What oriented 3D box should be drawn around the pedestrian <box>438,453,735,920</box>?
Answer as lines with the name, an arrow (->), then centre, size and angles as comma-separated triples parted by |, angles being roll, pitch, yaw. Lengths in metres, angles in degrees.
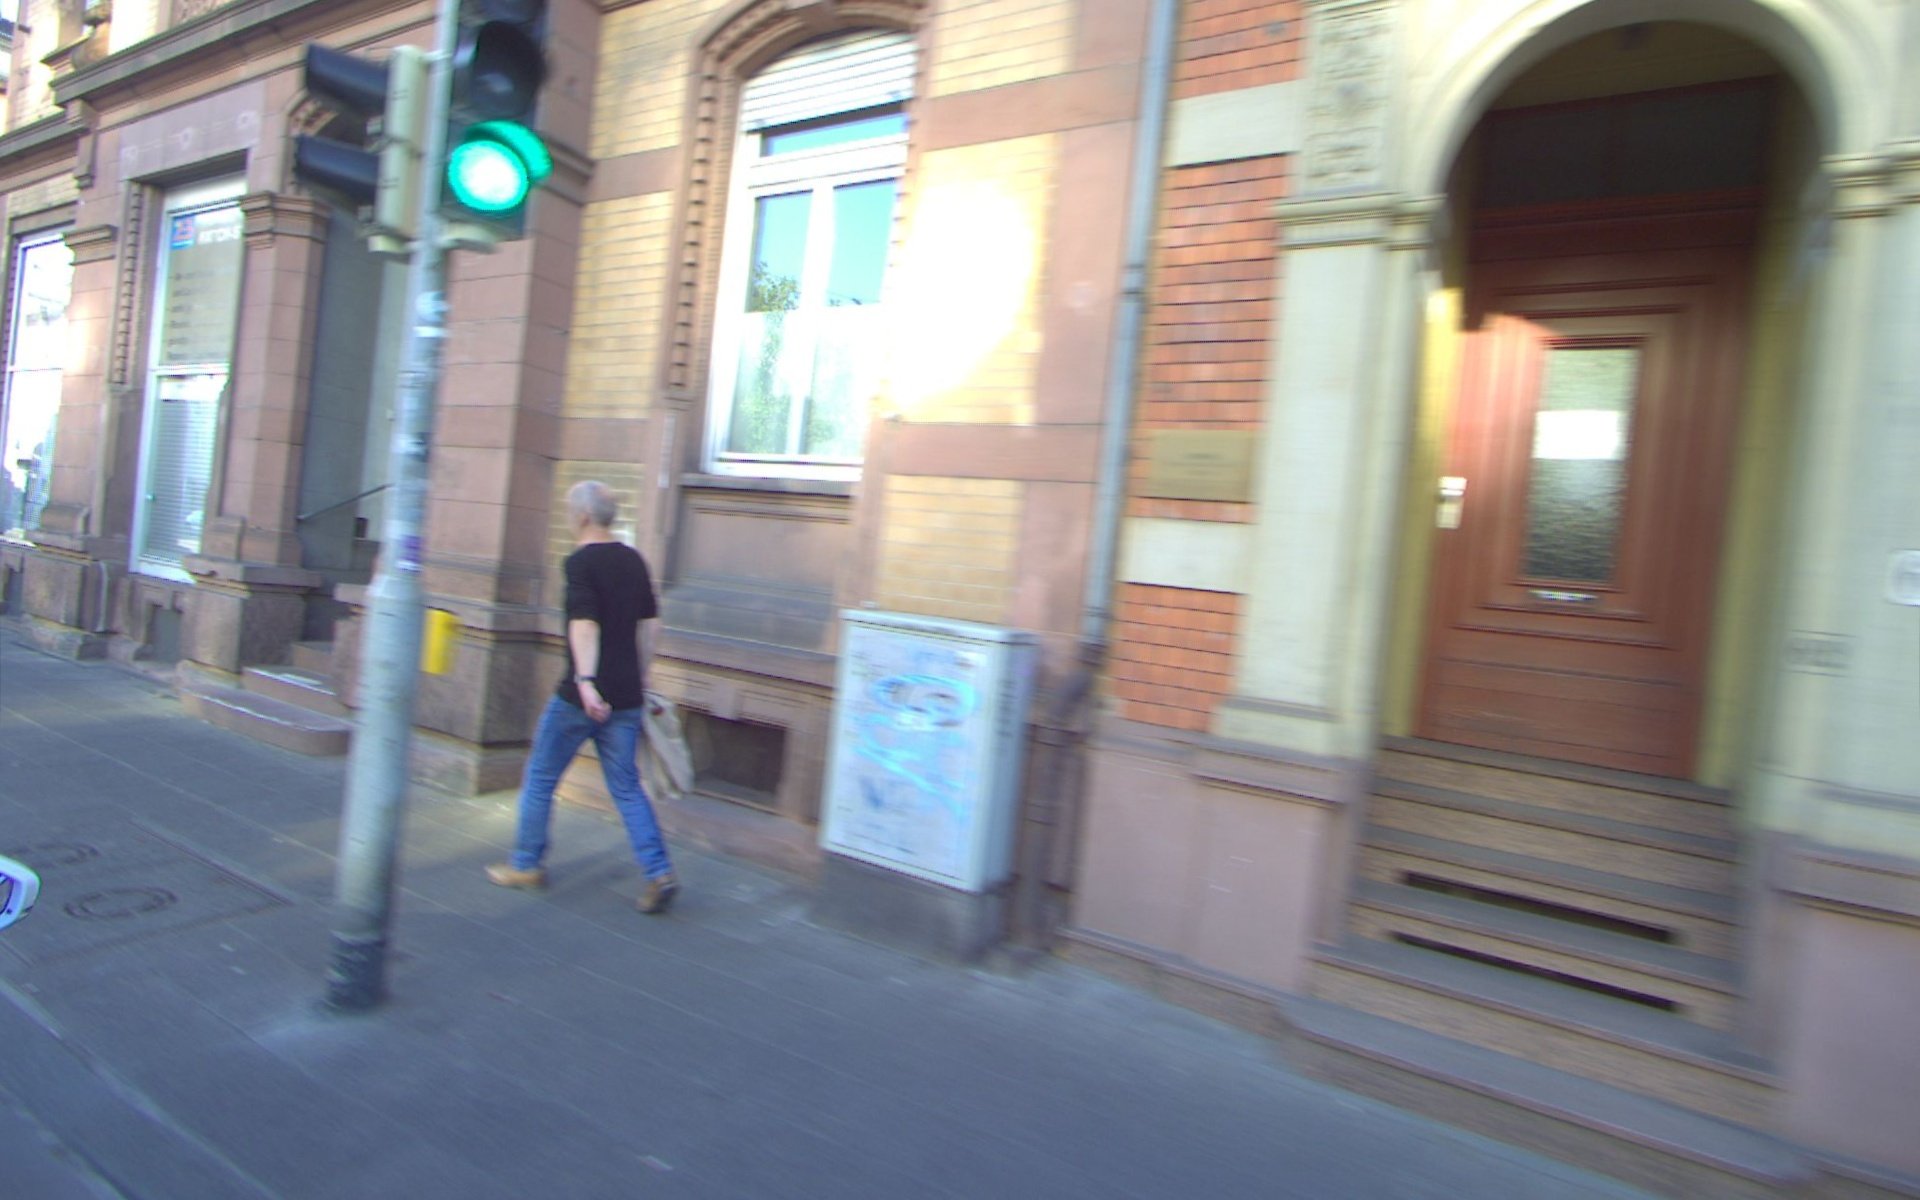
pedestrian -> -1.575, 0.318, 4.284 | 0.742, 1.746, 0.775 | 7, 3, 31
